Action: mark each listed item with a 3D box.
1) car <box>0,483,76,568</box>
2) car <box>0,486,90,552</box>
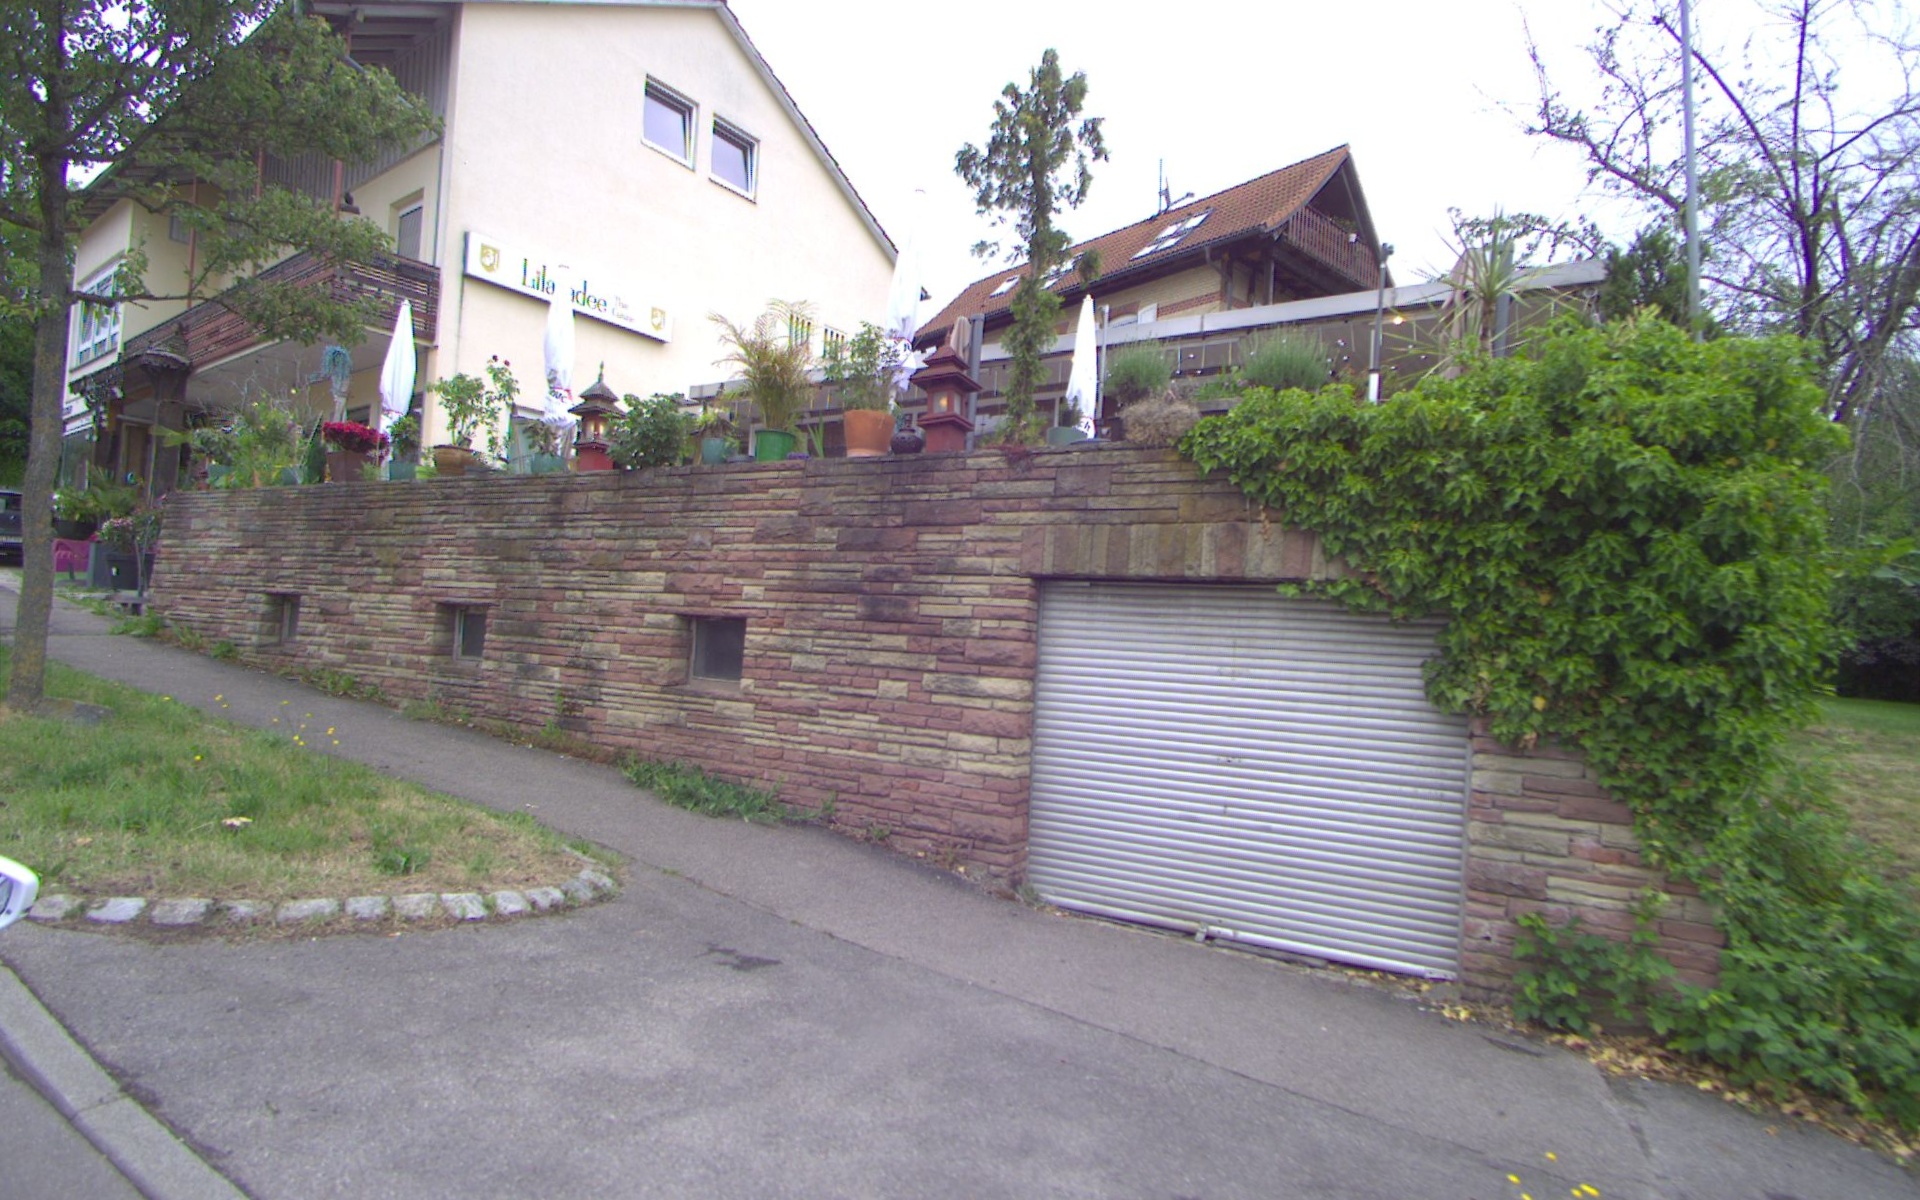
[{"bbox_3d":[-19.394,-1.587,19.870,4.315,1.492,1.848,6,2,34],"label":"car"},{"bbox_3d":[-28.318,-2.480,29.361,4.218,1.612,1.969,6,-3,-38],"label":"car"}]
